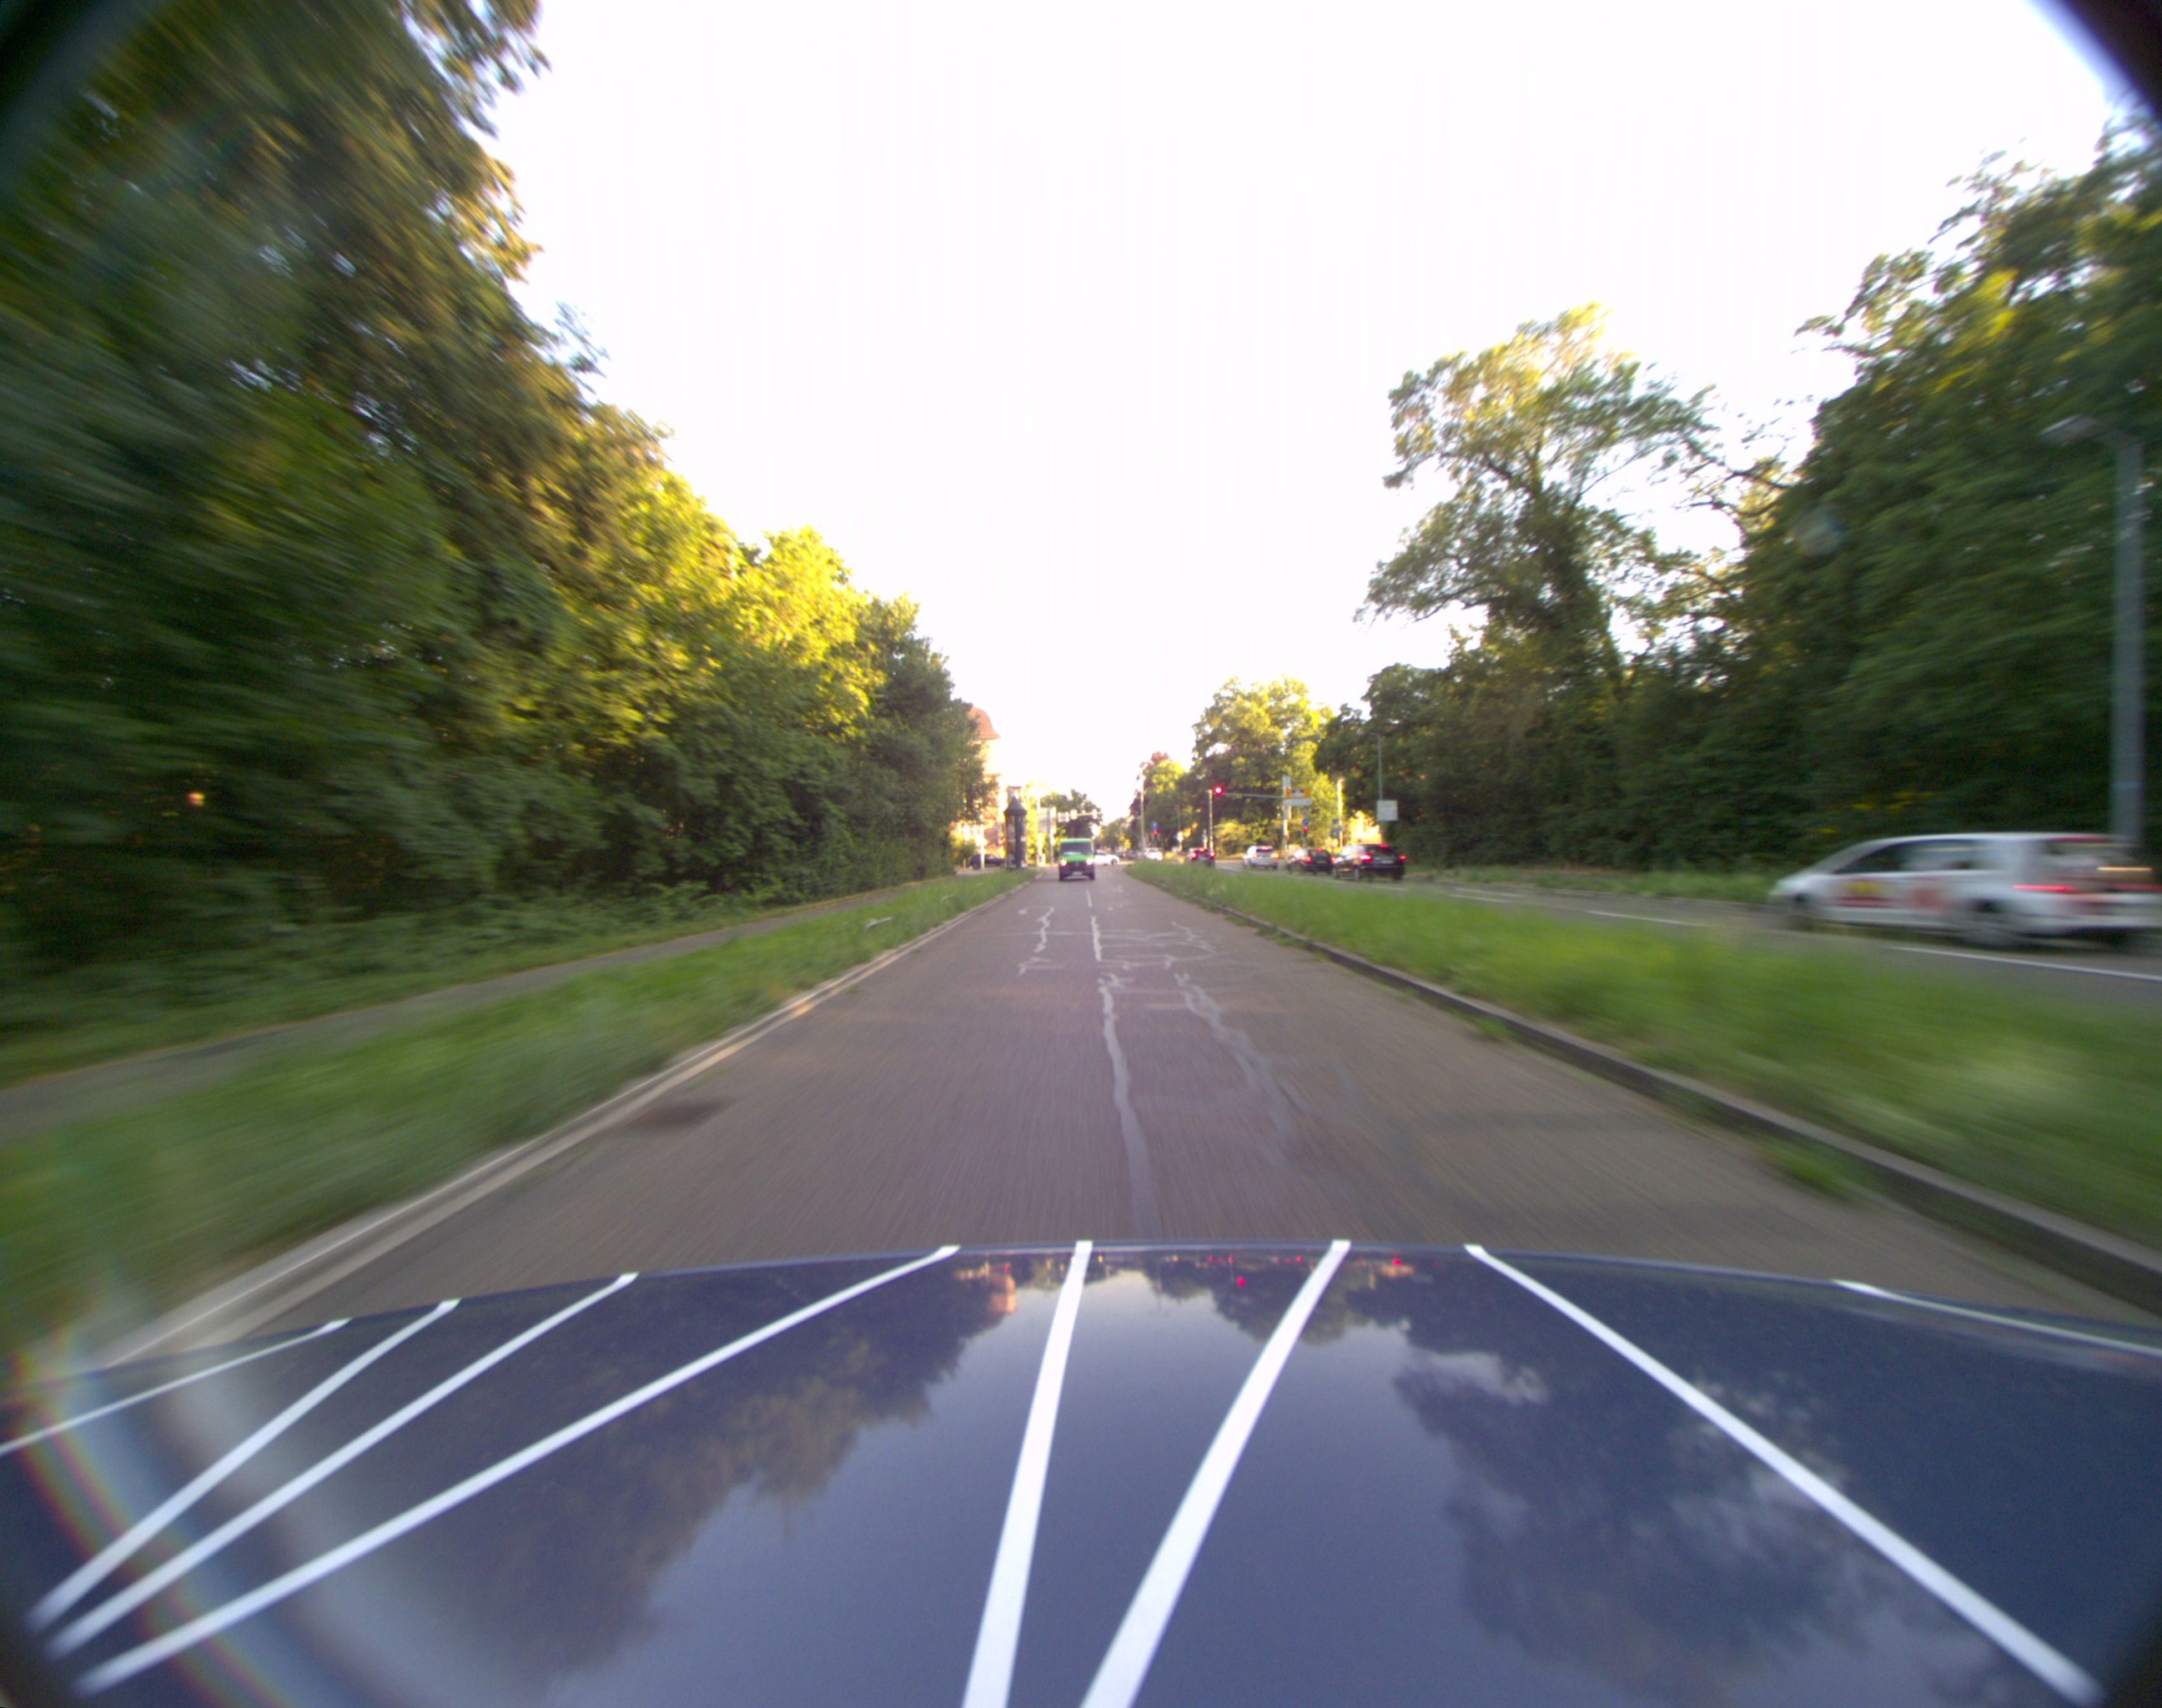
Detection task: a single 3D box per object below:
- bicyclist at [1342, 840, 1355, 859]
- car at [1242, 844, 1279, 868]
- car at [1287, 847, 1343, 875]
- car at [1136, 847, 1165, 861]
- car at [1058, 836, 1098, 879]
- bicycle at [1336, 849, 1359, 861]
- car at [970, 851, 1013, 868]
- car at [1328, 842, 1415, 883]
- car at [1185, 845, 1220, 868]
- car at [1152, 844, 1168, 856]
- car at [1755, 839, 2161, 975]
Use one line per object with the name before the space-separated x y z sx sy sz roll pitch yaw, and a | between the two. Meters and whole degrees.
bicyclist | 23.161 -0.377 65.716 0.899 1.560 0.555 -1 1 -11
car | 12.789 0.109 54.412 1.826 1.604 4.641 1 1 3
car | 12.967 0.333 42.426 1.827 1.471 4.232 0 1 0
car | 8.274 0.034 90.444 1.772 1.626 4.505 -1 0 -18
car | -0.104 0.172 43.834 2.044 2.264 5.941 -2 0 1
bicycle | 23.037 0.069 65.697 1.802 1.008 0.565 -1 1 -12
car | -8.695 0.558 74.035 3.997 1.527 1.683 -1 1 -1
car | 12.488 0.324 33.019 1.998 1.618 4.651 0 1 0
car | 8.730 0.147 55.023 1.818 1.618 4.450 0 1 0
car | 12.076 -0.643 116.231 1.861 1.835 4.120 -1 1 -1
car | 12.026 0.572 10.530 1.998 1.450 3.809 -1 2 1
